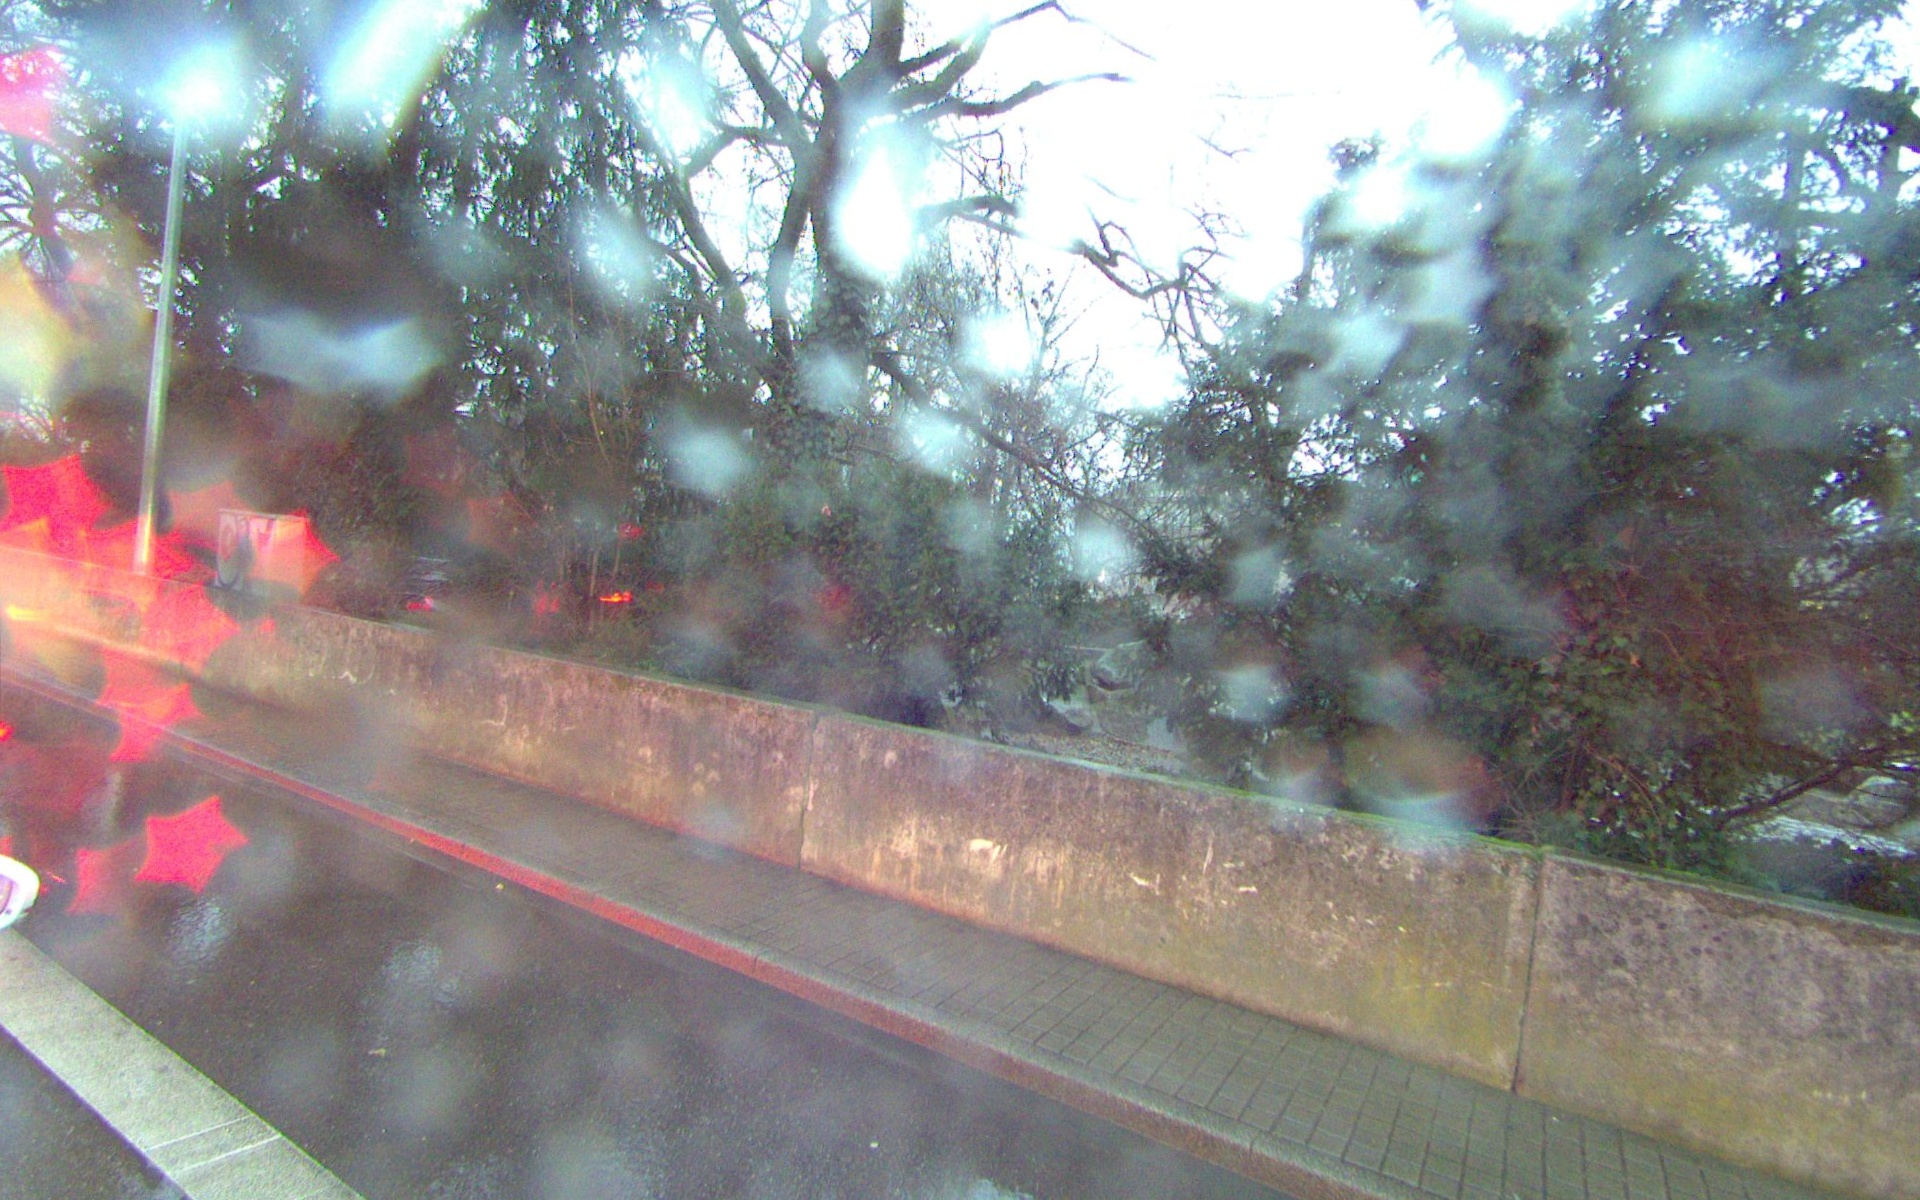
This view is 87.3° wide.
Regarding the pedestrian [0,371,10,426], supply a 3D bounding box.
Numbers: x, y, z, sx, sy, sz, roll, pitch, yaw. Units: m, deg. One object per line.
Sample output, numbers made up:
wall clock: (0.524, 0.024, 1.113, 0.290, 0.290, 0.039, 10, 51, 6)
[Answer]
pedestrian: (-37.070, -7.760, 38.306, 0.991, 2.039, 0.960, 7, 1, 31)
